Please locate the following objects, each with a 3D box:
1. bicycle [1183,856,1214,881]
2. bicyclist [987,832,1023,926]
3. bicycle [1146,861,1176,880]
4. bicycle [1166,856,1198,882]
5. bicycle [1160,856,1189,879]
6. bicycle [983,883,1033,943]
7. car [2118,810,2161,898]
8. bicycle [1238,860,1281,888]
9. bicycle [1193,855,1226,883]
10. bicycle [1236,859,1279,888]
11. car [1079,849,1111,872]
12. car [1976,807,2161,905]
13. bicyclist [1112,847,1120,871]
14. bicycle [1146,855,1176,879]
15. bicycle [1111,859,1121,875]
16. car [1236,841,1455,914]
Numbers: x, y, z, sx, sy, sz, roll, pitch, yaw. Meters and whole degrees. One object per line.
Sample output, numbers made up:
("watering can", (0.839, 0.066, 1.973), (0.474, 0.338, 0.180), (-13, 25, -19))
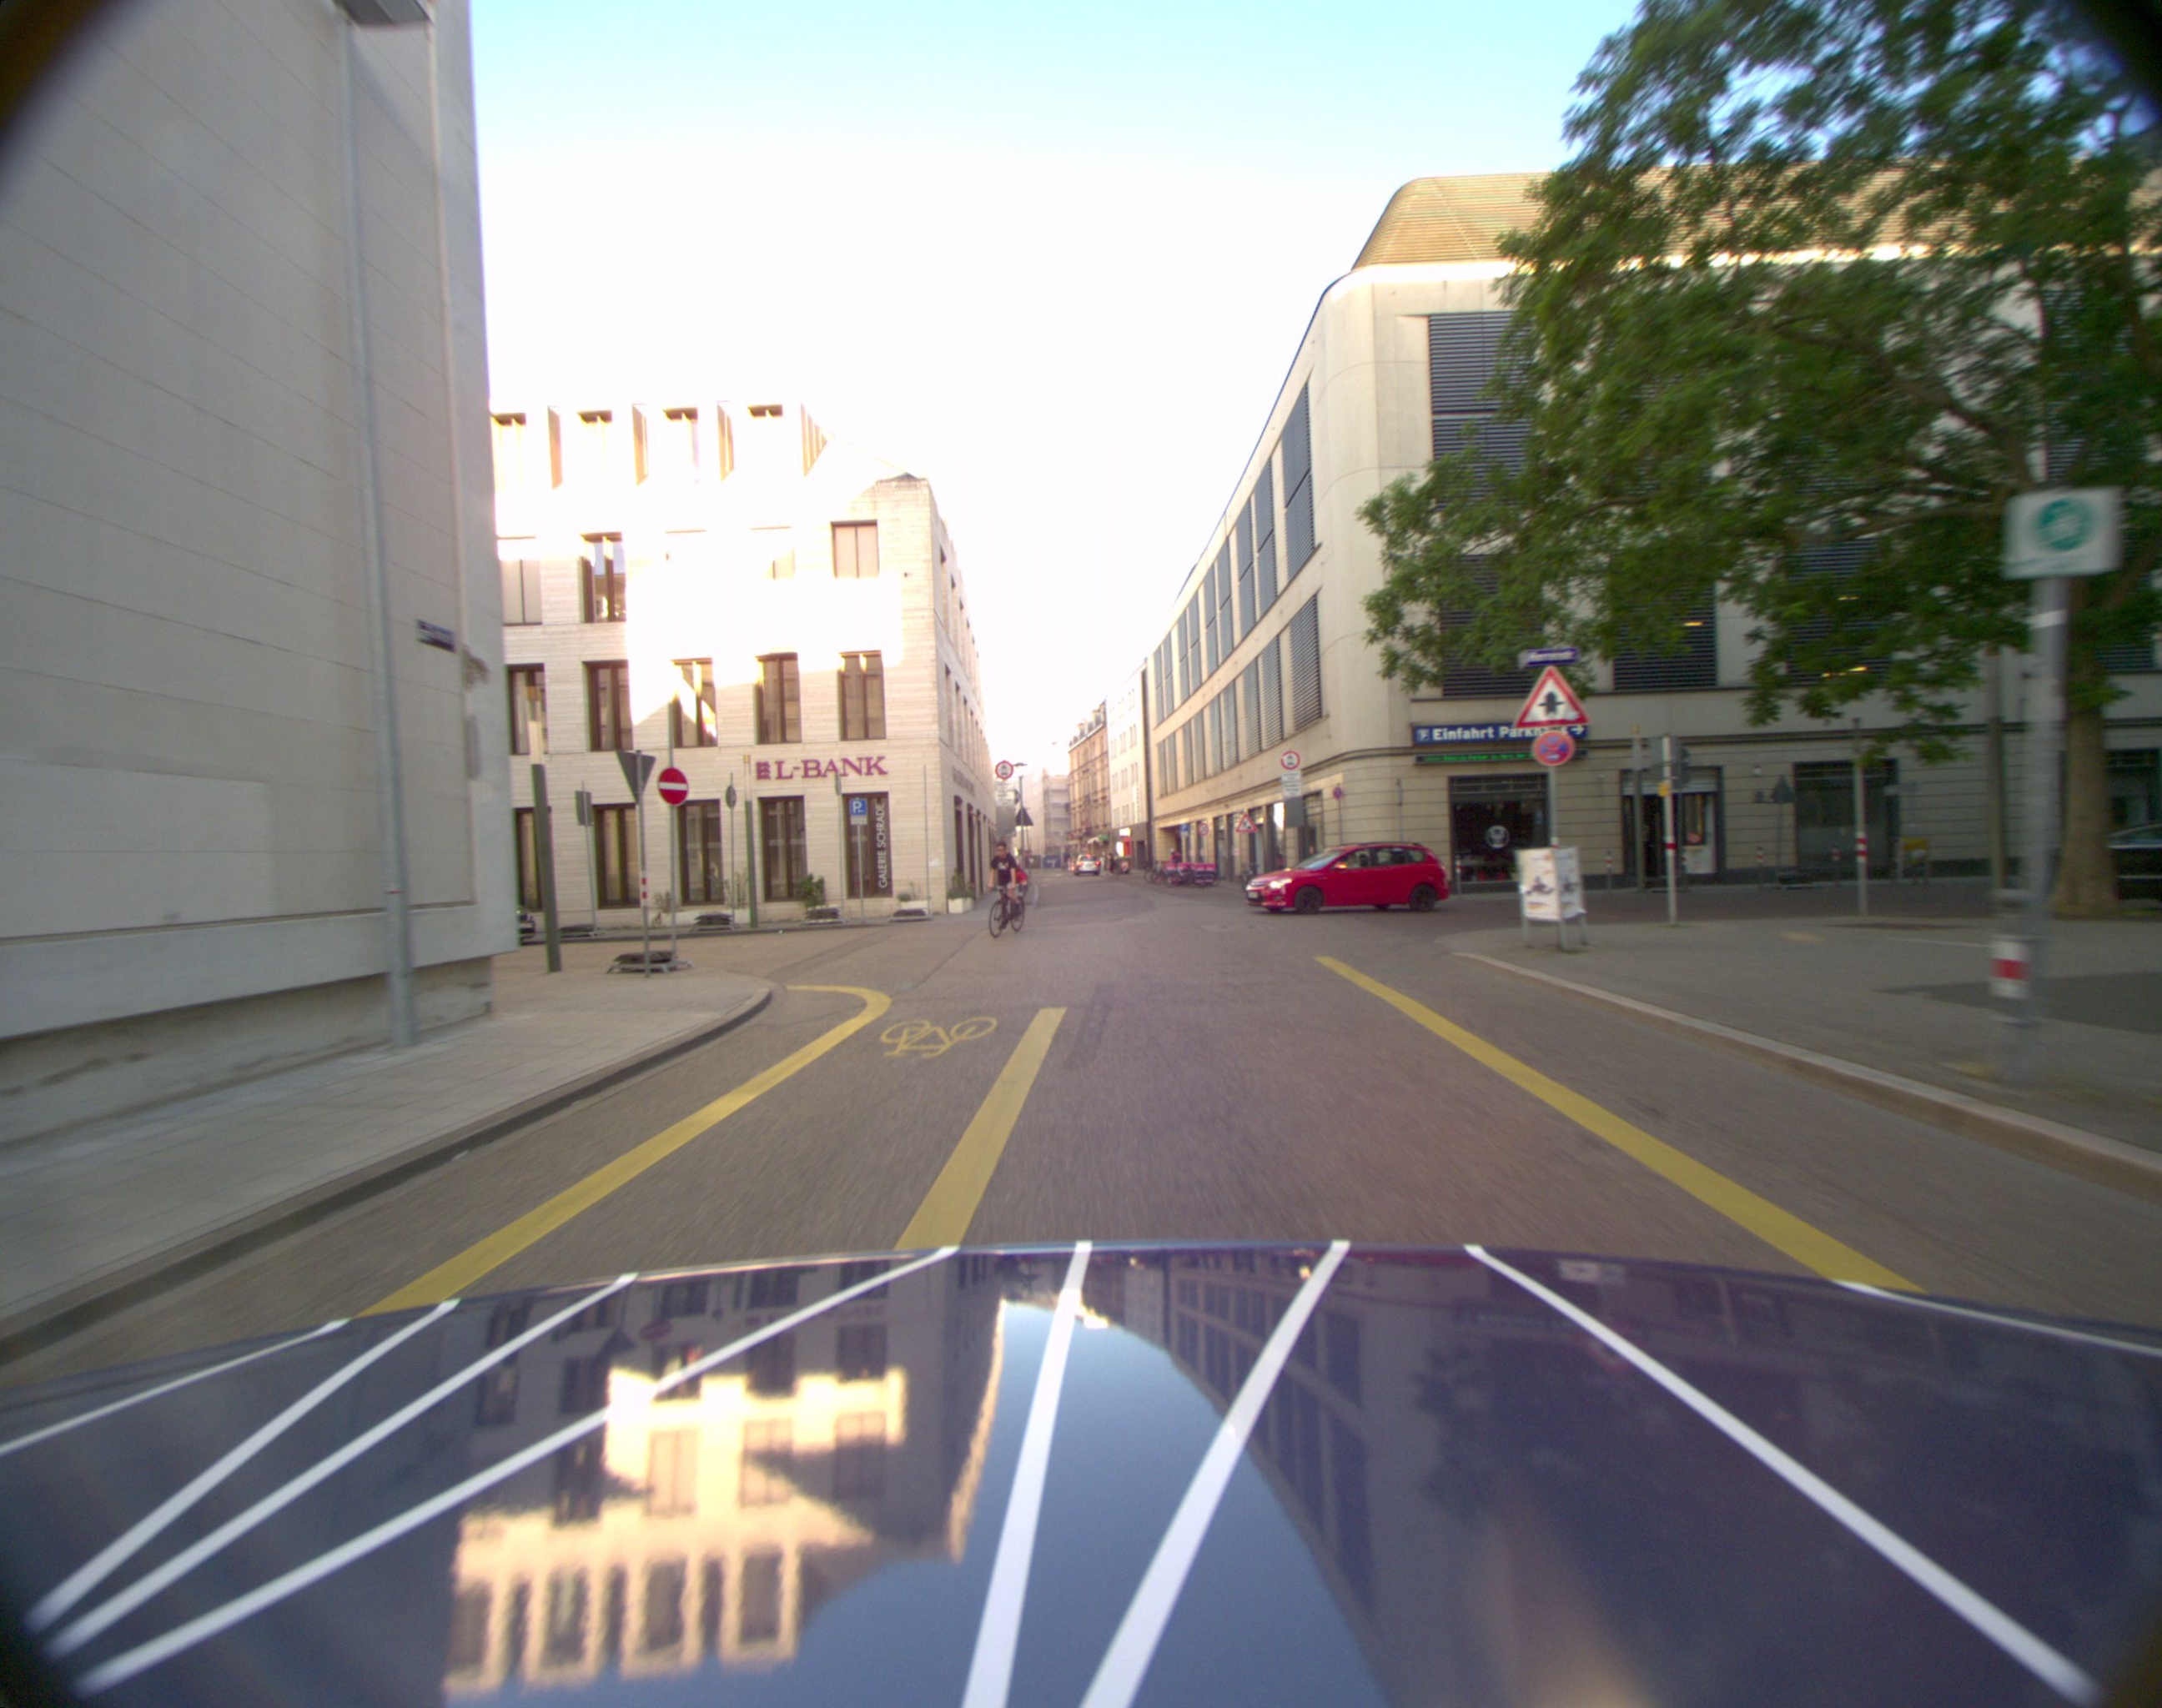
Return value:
("bicycle", (6.078, 0.729, 39.192), (1.516, 1.242, 0.353), (-1, 2, 16))
("bicyclist", (-1.426, 0.459, 14.334), (0.501, 1.722, 0.552), (-1, 2, 9))
("bicycle", (4.137, 0.859, 39.436), (1.517, 0.947, 0.353), (-2, 2, 4))
("bicycle", (4.954, 0.746, 37.272), (1.516, 1.242, 0.353), (-1, 2, 16))
("bicycle", (5.188, 0.728, 42.038), (1.516, 1.242, 0.353), (-1, 2, 11))
("bicycle", (-1.377, 1.096, 14.611), (0.510, 0.968, 1.821), (-1, 1, 8))
("car", (19.431, -0.147, 10.929), (1.999, 1.490, 5.022), (-2, -3, -2))
("bicycle", (6.844, 0.762, 29.187), (1.516, 1.027, 0.353), (-3, 0, 21))
("bicycle", (6.094, 0.710, 36.117), (1.517, 1.242, 0.353), (-2, 2, 4))
("bicycle", (6.709, 0.748, 28.823), (1.516, 1.027, 0.353), (-3, 0, 21))
("car", (1.103, 0.486, 60.300), (2.177, 1.652, 3.998), (-2, 1, -4))
("car", (16.953, -0.022, 10.947), (1.999, 1.442, 5.022), (-2, -3, -2))
("bicyclist", (2.354, 0.331, 51.496), (0.497, 1.616, 0.632), (-1, 2, 5))
("bicycle", (4.248, 0.702, 40.390), (1.517, 1.242, 0.353), (-1, 2, 8))
("bicycle", (2.383, 0.877, 51.716), (0.518, 0.989, 2.109), (-1, 1, 5))
("car", (5.798, 0.469, 16.858), (4.264, 1.456, 1.826), (-1, 1, -11))
